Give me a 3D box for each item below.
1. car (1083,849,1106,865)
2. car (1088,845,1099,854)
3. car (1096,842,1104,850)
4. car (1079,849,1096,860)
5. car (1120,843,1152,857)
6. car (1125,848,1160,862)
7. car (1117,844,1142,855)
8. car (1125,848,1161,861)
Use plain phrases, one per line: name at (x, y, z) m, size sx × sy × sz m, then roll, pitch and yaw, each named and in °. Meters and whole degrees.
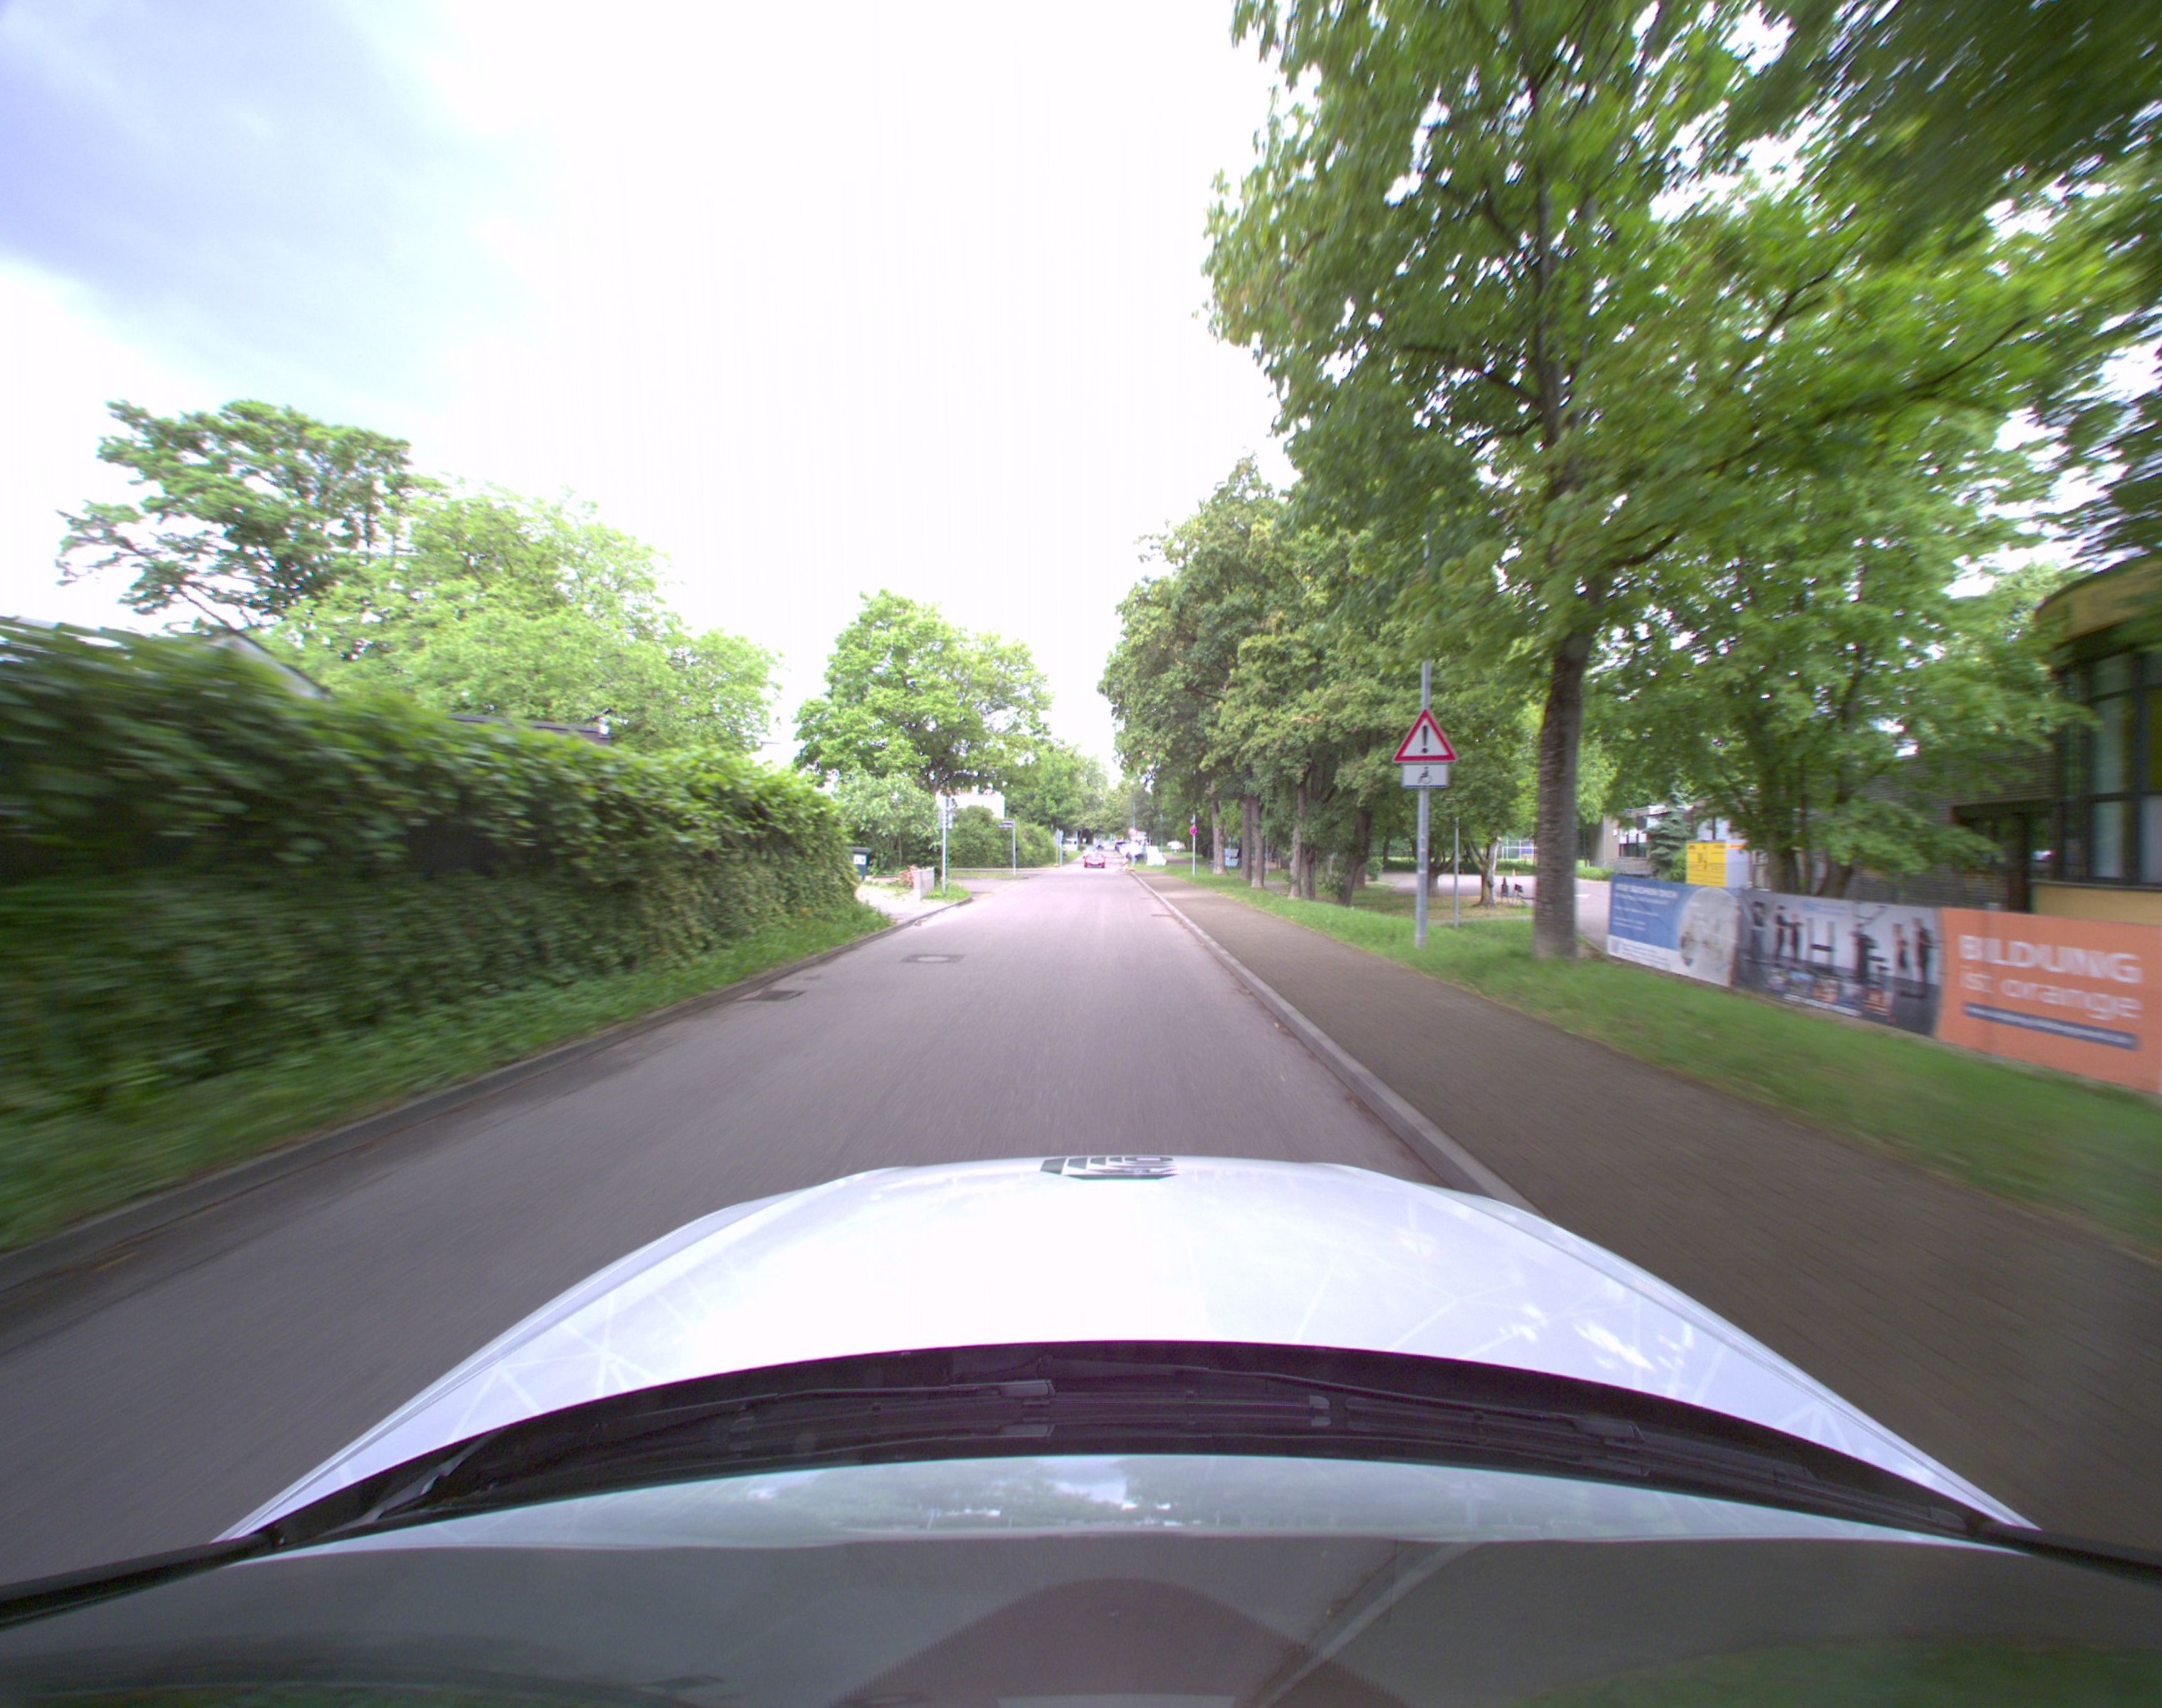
car at (1.124, 0.240, 69.181) m, size 1.746 × 1.335 × 4.062 m, roll 1°, pitch 1°, yaw -2°
car at (2.188, -0.830, 146.550) m, size 1.795 × 1.591 × 4.300 m, roll 1°, pitch 1°, yaw 3°
car at (4.624, -1.912, 197.588) m, size 1.962 × 1.747 × 4.339 m, roll 1°, pitch 1°, yaw 1°
car at (0.865, 0.062, 109.438) m, size 1.772 × 1.306 × 4.304 m, roll 1°, pitch 1°, yaw 7°
car at (7.509, -0.509, 111.261) m, size 4.052 × 1.687 × 1.821 m, roll -3°, pitch 1°, yaw -2°
car at (7.220, 0.080, 95.769) m, size 4.049 × 1.568 × 1.822 m, roll -1°, pitch -1°, yaw 0°
car at (8.372, -0.751, 140.776) m, size 4.052 × 1.687 × 1.821 m, roll -3°, pitch 1°, yaw -2°
car at (7.085, 0.057, 93.508) m, size 4.049 × 1.434 × 2.000 m, roll -1°, pitch -1°, yaw 0°
